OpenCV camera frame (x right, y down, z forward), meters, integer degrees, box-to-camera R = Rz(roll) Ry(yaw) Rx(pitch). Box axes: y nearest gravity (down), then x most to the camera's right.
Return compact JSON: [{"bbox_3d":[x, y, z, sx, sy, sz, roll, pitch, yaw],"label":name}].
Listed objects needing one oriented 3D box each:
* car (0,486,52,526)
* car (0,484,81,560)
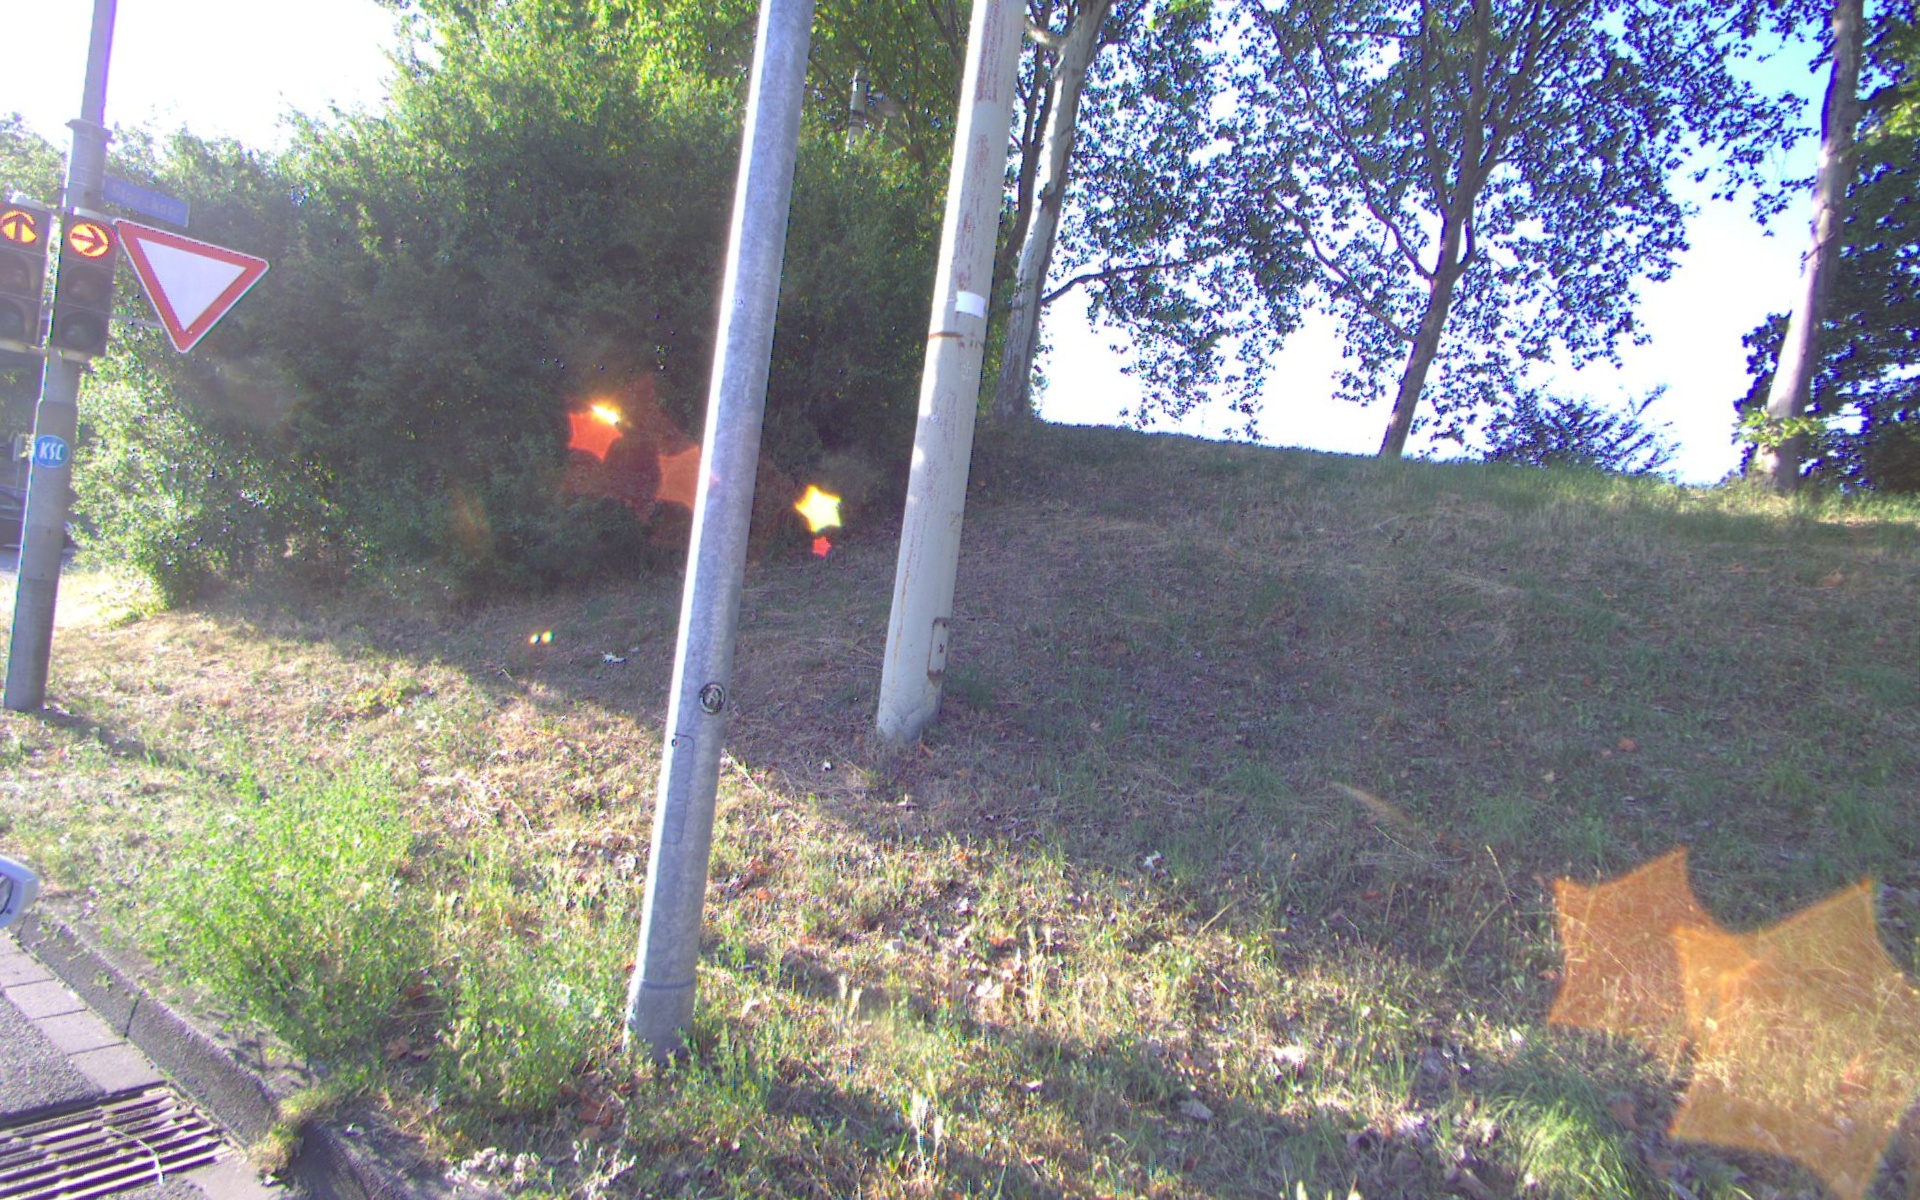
[{"bbox_3d":[-40.432,-4.093,41.715,1.664,1.439,3.737,7,-1,13],"label":"car"},{"bbox_3d":[-22.418,-1.934,22.445,1.702,1.535,3.921,7,-1,10],"label":"car"}]
